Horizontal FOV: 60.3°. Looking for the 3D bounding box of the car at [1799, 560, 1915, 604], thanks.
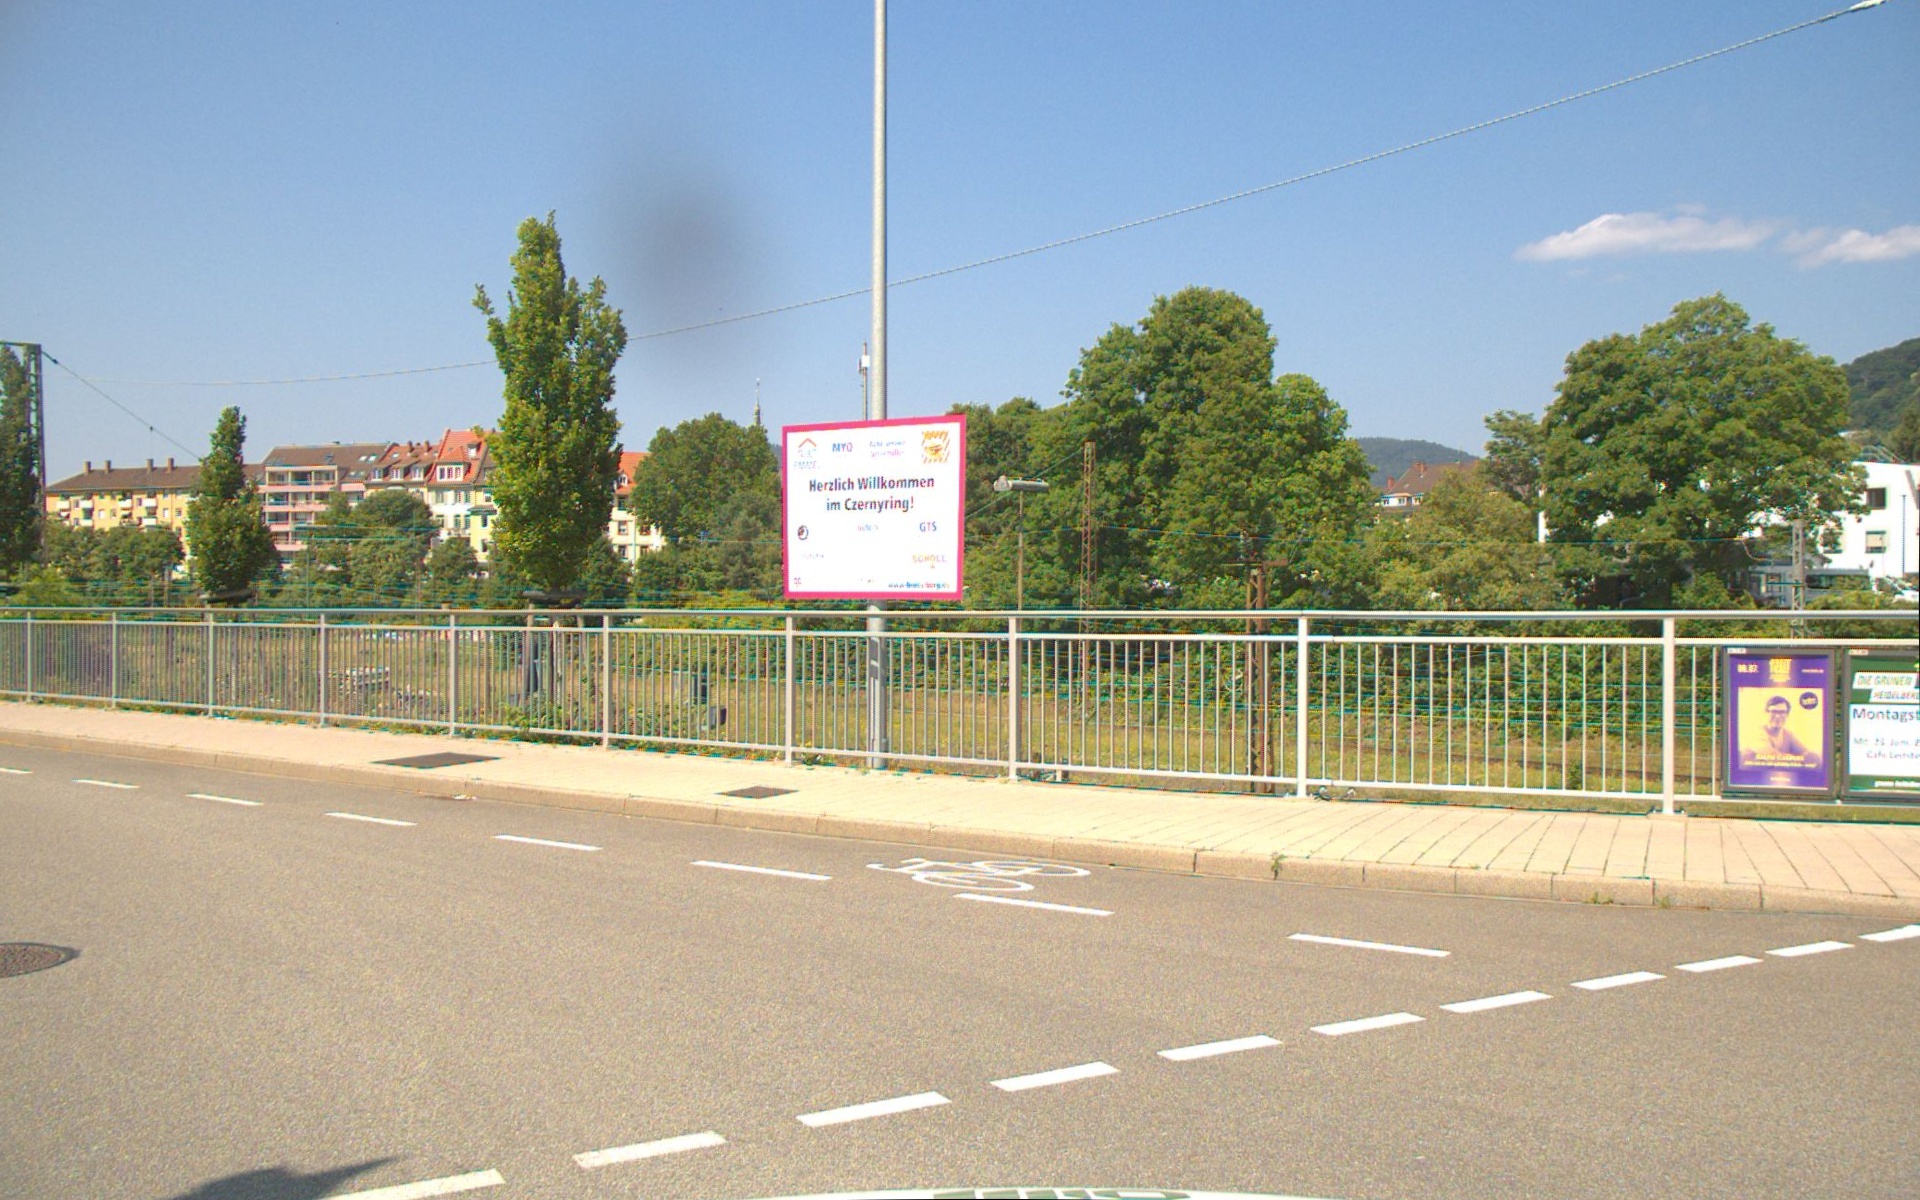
[{"bbox_3d":[45.596,-0.924,84.137,4.900,2.149,1.989,0,1,41],"label":"car"}]
